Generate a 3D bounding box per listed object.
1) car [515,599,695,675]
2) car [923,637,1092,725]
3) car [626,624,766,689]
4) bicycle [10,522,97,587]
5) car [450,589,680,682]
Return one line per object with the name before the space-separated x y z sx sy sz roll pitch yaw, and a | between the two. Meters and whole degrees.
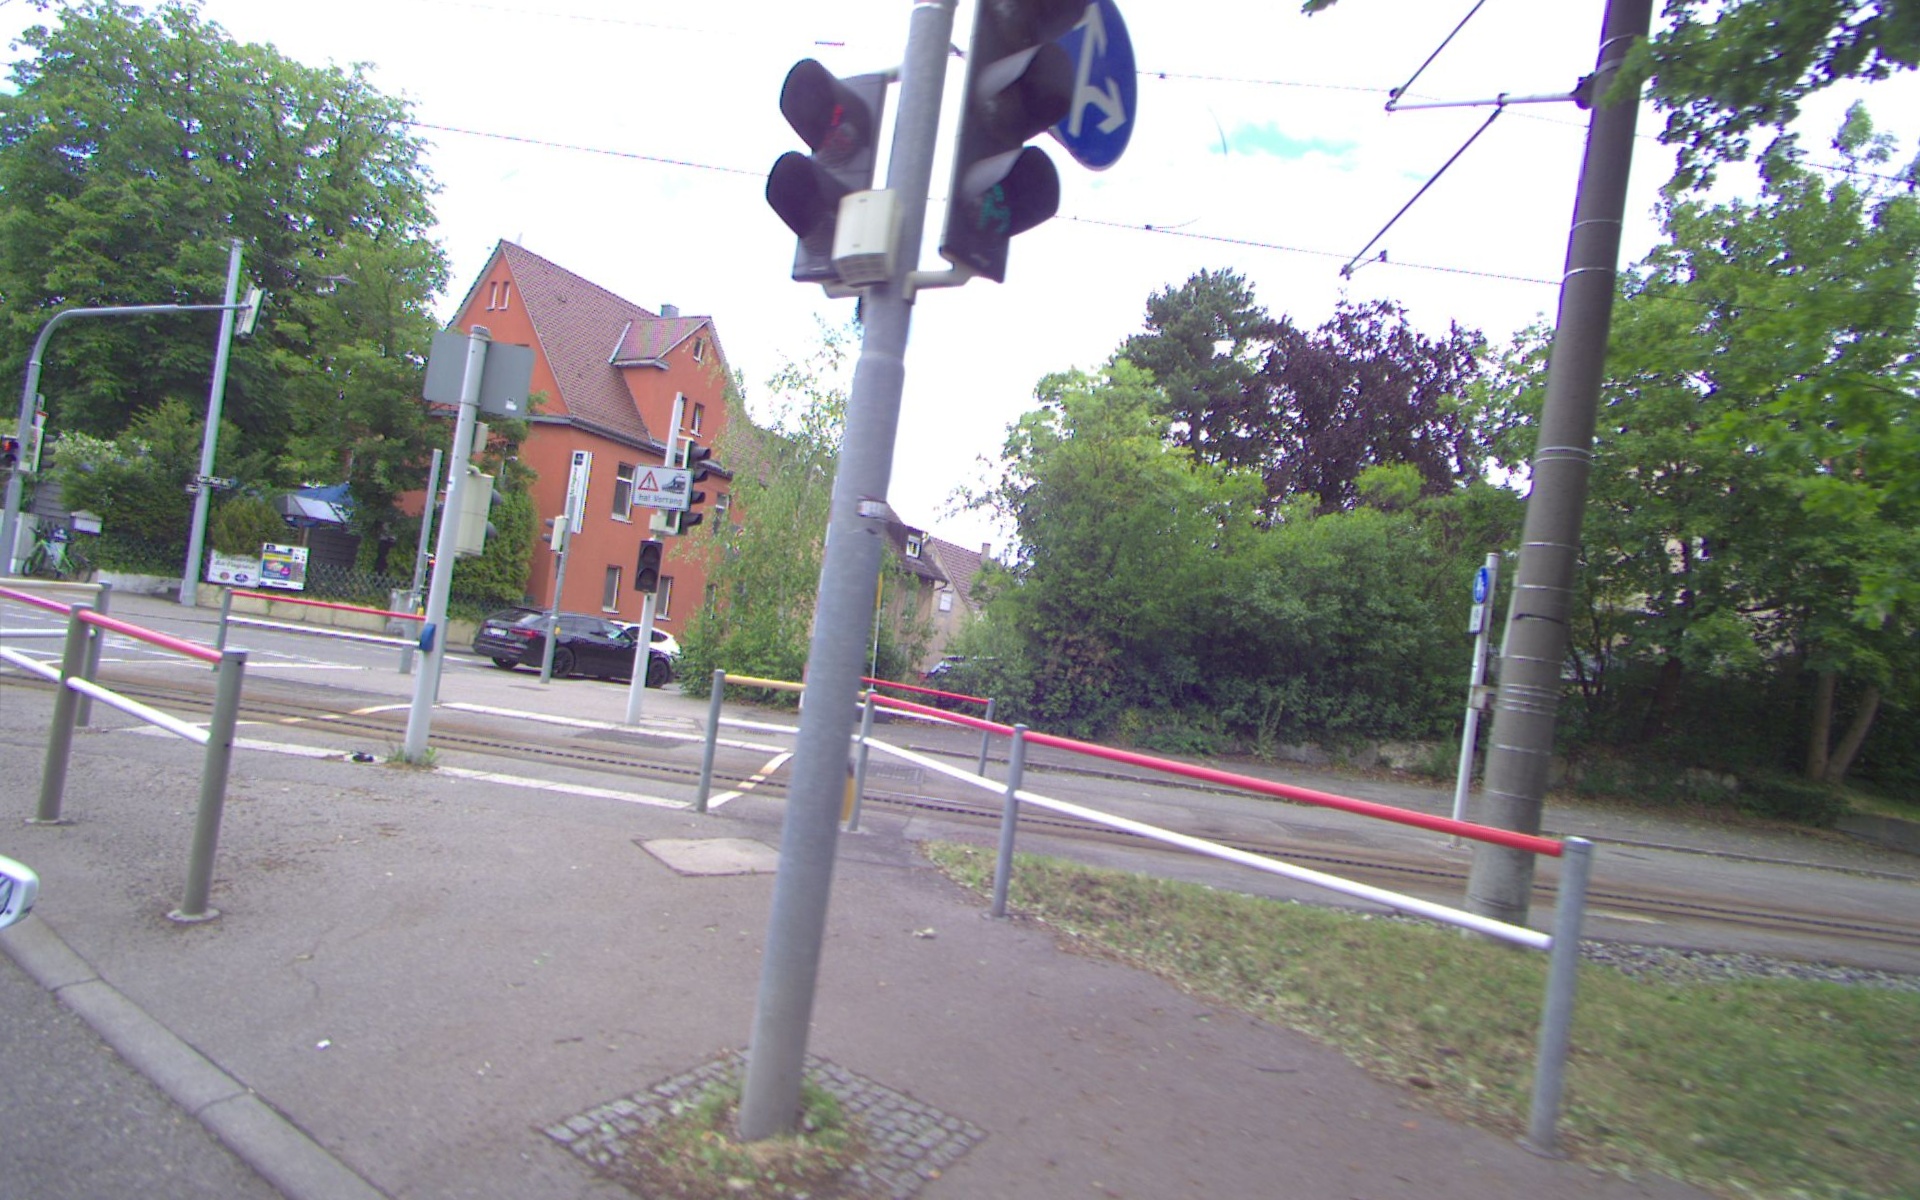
car | -9.444 1.054 27.206 1.963 1.479 4.525 7 -3 21
car | 1.183 1.859 22.280 1.965 1.479 4.521 7 -3 27
car | -8.665 1.946 33.508 1.964 1.477 4.528 7 -6 24
bicycle | -20.933 -1.053 23.216 1.843 1.152 0.550 11 0 20
car | -8.699 0.861 22.624 1.965 1.479 4.521 7 -3 27
